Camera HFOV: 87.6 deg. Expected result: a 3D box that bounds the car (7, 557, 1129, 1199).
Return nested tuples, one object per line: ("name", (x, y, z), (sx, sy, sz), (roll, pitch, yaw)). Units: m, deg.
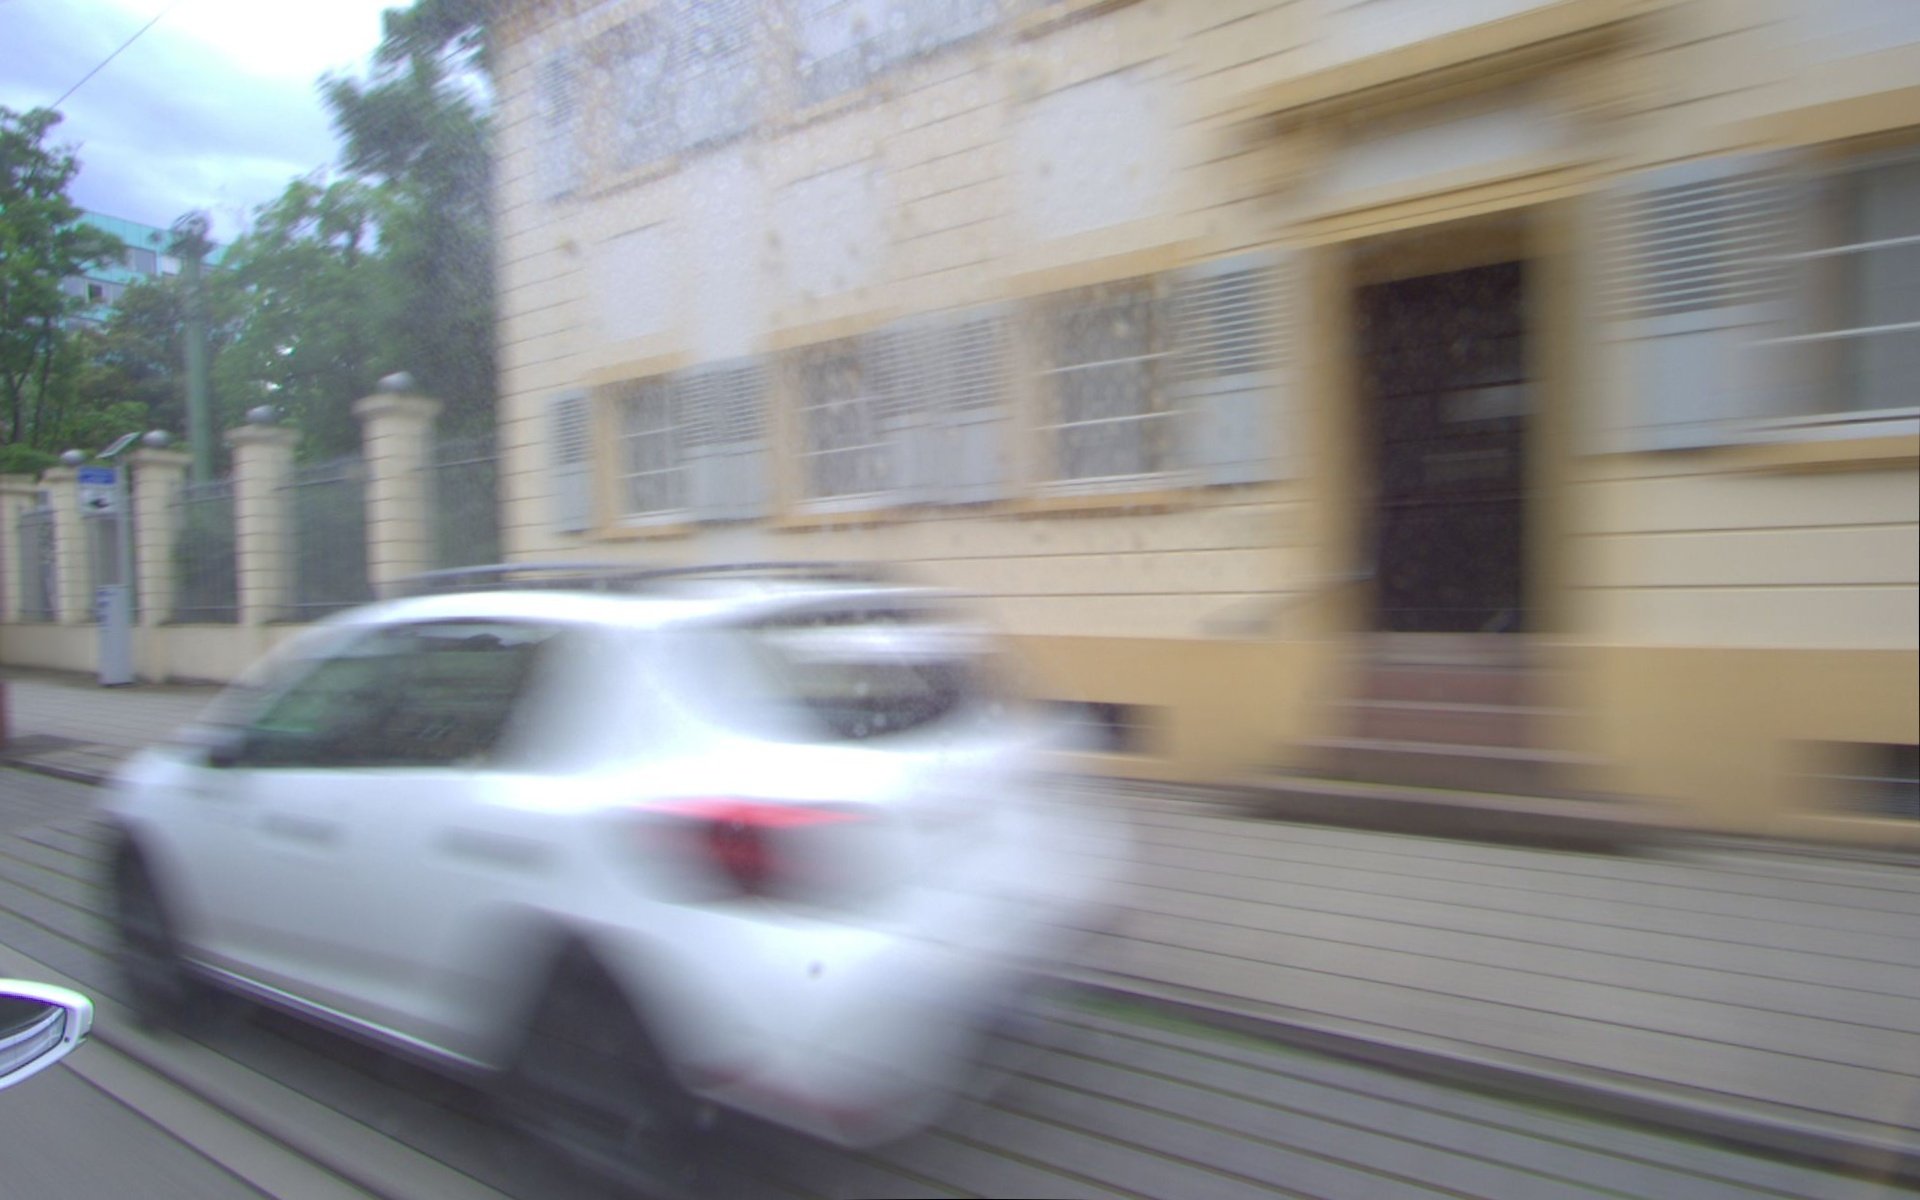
("car", (-1.547, 0.717, 3.614), (3.874, 1.596, 1.750), (-1, 3, 32))
